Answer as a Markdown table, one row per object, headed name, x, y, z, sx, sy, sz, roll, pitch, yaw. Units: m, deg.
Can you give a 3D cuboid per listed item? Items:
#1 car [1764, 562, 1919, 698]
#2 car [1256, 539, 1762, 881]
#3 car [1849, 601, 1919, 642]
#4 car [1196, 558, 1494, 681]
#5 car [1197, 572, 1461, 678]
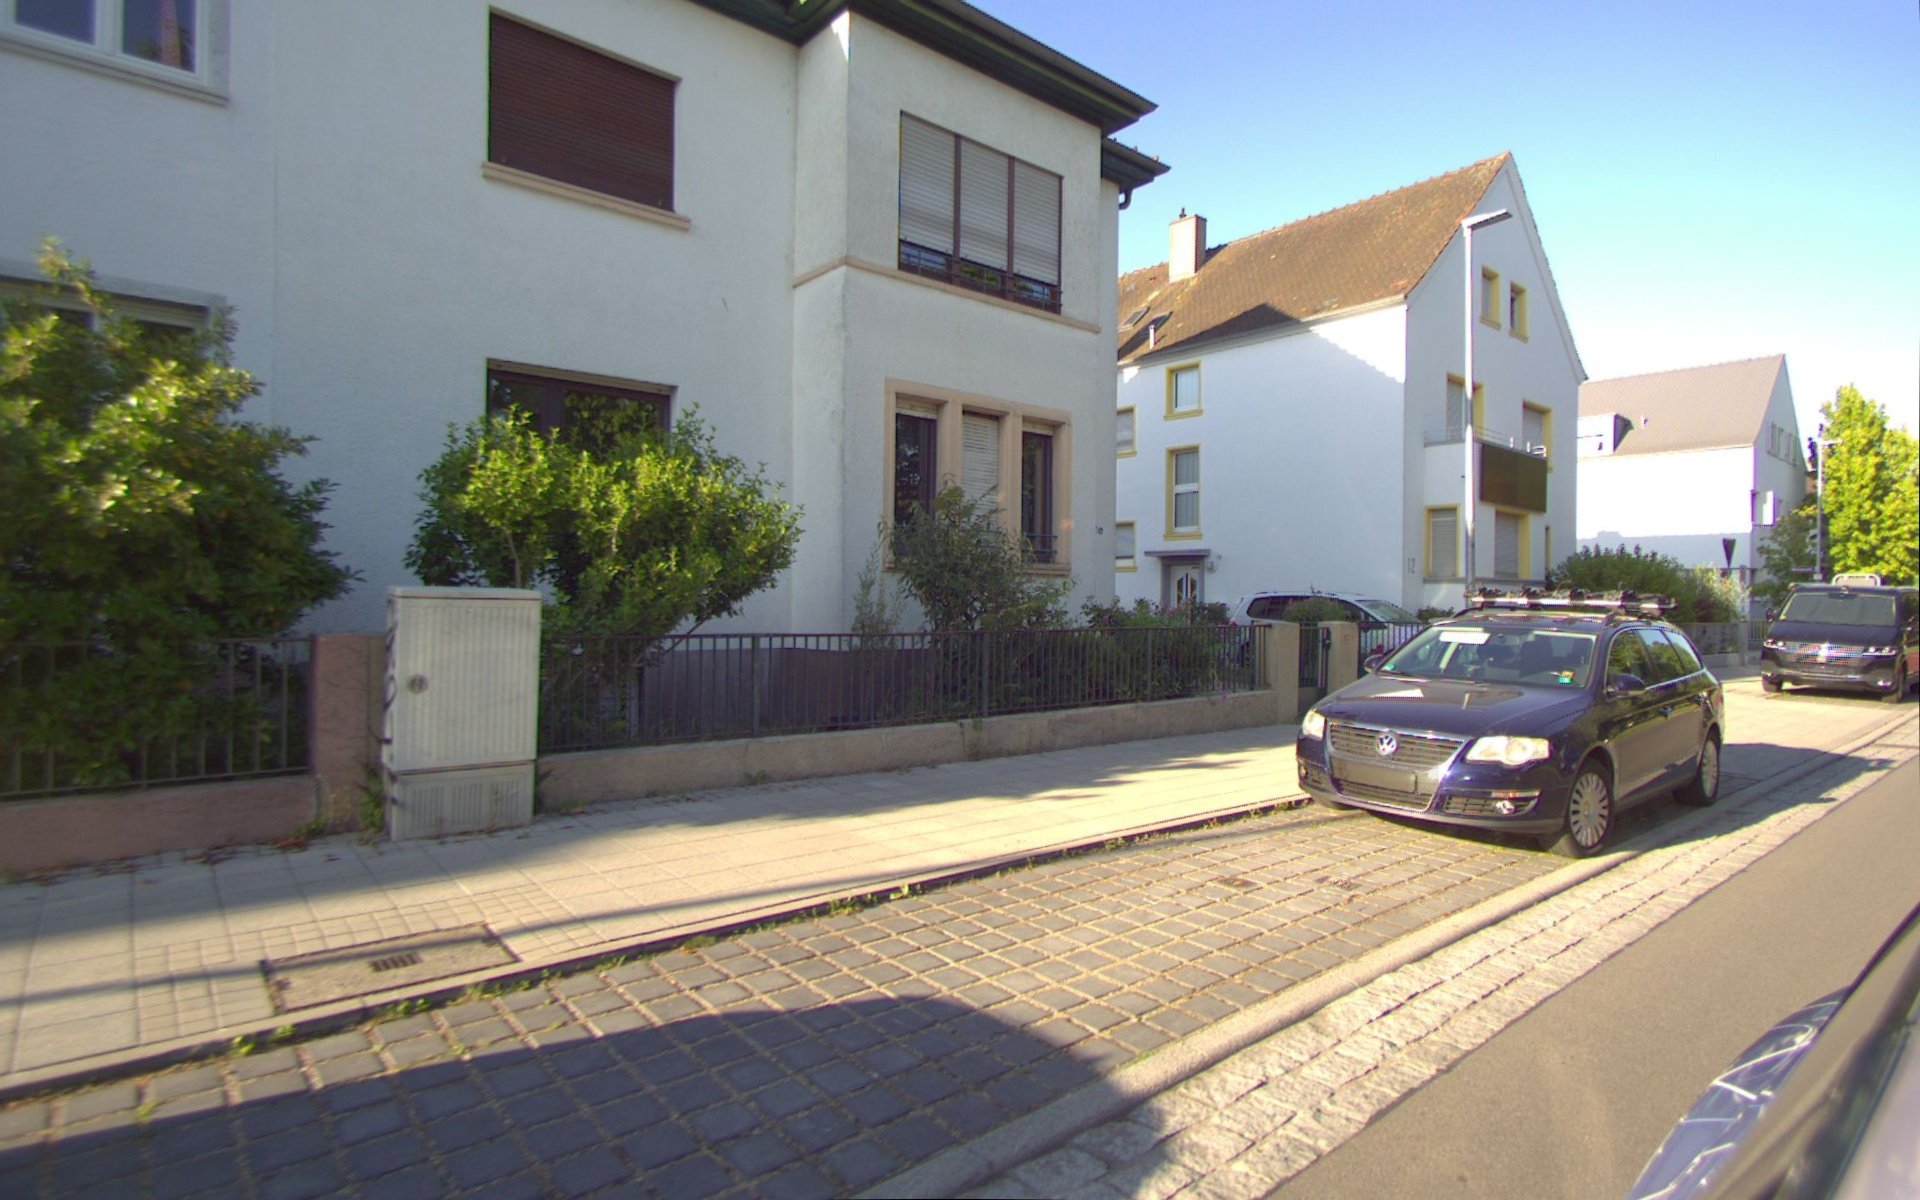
| name | x | y | z | sx | sy | sz | roll | pitch | yaw |
| --- | --- | --- | --- | --- | --- | --- | --- | --- | --- |
| car | 16.439 | 0.452 | 18.365 | 4.728 | 2.158 | 1.910 | 0 | 1 | -40 |
| car | 4.213 | 0.554 | 7.429 | 4.394 | 1.793 | 1.797 | 0 | 1 | -41 |
| car | 44.250 | 1.010 | 47.279 | 3.983 | 1.869 | 1.786 | -2 | -3 | 45 |
| car | 6.161 | 0.254 | 16.561 | 1.822 | 1.747 | 4.221 | 0 | 1 | -43 |
| car | 6.712 | 0.454 | 18.749 | 1.822 | 1.748 | 4.220 | 0 | -1 | -43 |
